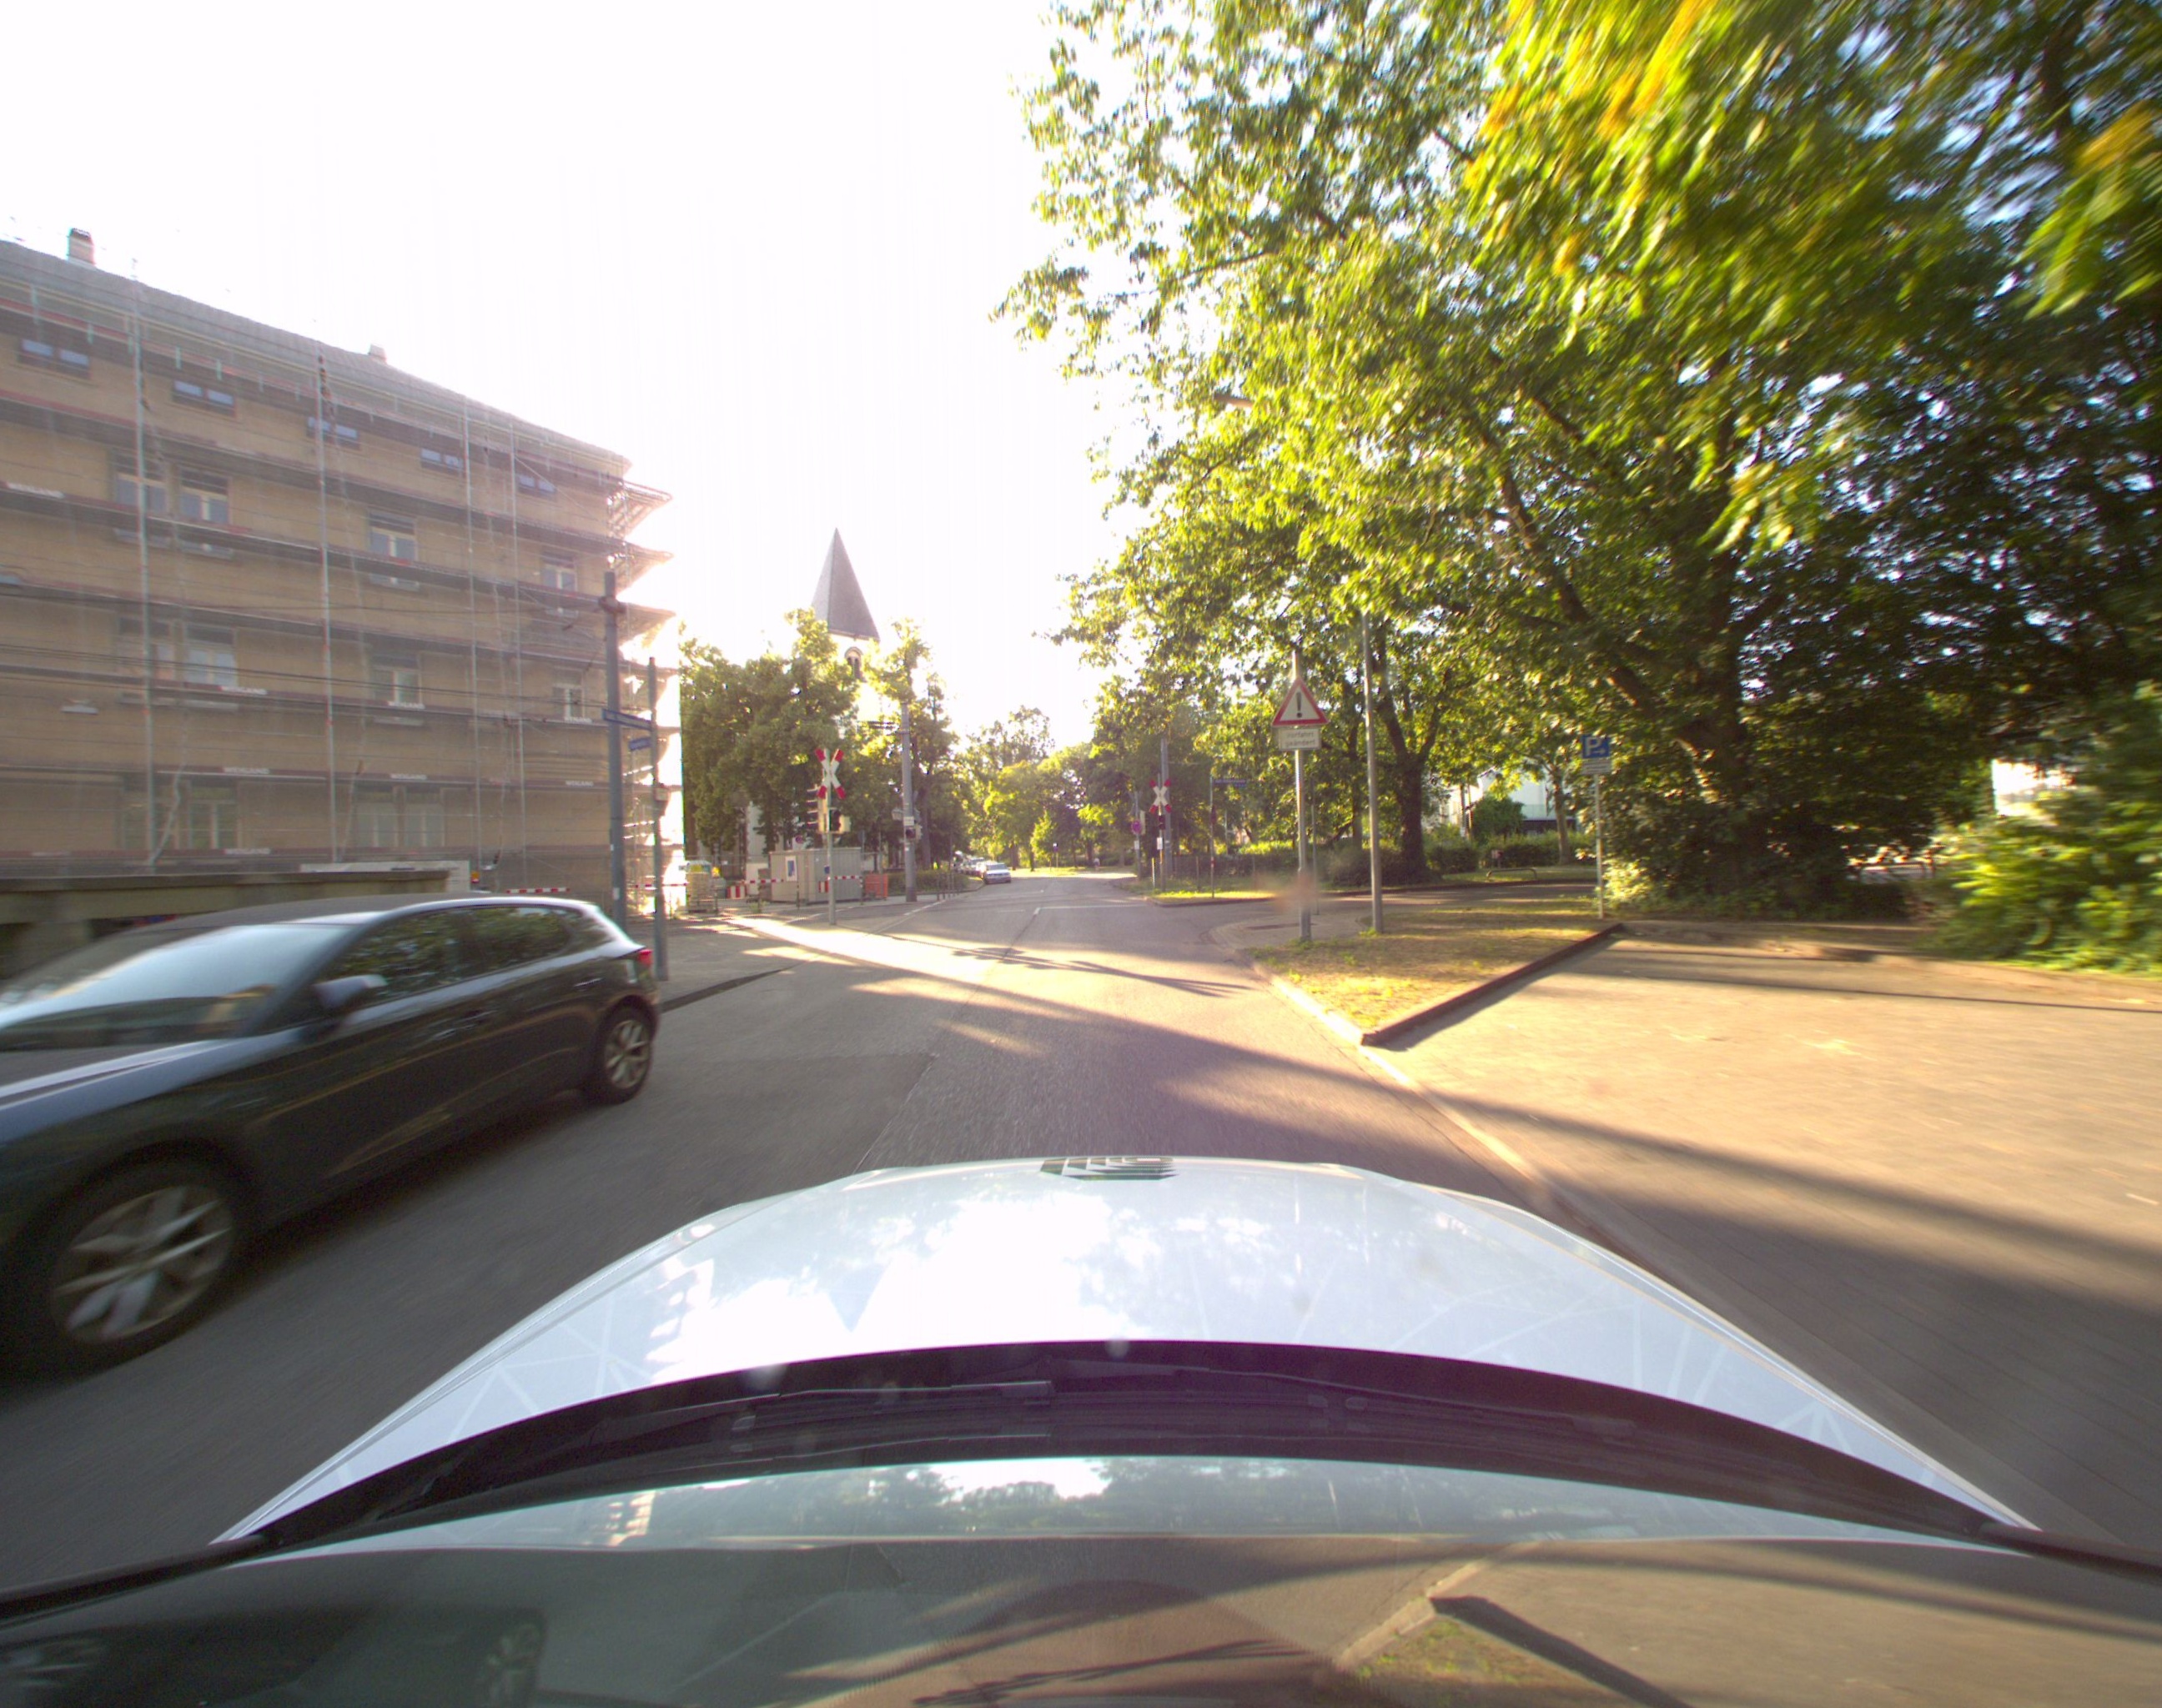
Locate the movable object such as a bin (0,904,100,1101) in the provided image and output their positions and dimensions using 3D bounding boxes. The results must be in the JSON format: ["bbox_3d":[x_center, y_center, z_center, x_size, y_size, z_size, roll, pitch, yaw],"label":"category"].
[{"bbox_3d":[-9.024,1.195,6.184,1.138,1.486,1.633,-2,0,12],"label":"movable object such as a bin"}]

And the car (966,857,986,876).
[{"bbox_3d":[-11.682,1.404,90.713,1.852,1.946,4.821,-2,0,-11],"label":"car"}]

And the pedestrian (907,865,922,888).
[{"bbox_3d":[-9.714,1.292,47.536,0.548,1.298,0.767,-2,0,6],"label":"pedestrian"}]

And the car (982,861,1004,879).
[{"bbox_3d":[-7.727,1.375,70.954,1.612,1.440,3.593,-3,0,-10],"label":"car"}]

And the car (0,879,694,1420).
[{"bbox_3d":[-3.889,0.940,3.987,1.736,1.448,4.212,-3,0,3],"label":"car"}]

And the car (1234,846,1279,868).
[{"bbox_3d":[17.288,0.238,80.074,1.934,2.013,5.185,-2,-1,42],"label":"car"}]

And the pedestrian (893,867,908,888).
[{"bbox_3d":[-10.516,1.372,47.420,0.548,1.195,0.885,-2,0,6],"label":"pedestrian"}]

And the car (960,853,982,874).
[{"bbox_3d":[-13.258,1.139,97.739,1.855,2.356,5.156,-2,0,-17],"label":"car"}]

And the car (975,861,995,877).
[{"bbox_3d":[-9.745,1.505,82.444,1.617,1.501,3.682,-2,0,-11],"label":"car"}]

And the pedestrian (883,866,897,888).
[{"bbox_3d":[-11.103,1.356,47.404,0.548,1.233,0.726,-2,0,6],"label":"pedestrian"}]

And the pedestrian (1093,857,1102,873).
[{"bbox_3d":[1.619,1.119,81.148,0.771,1.574,0.767,-2,0,-2],"label":"pedestrian"}]

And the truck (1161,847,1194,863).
[{"bbox_3d":[20.258,0.228,171.623,2.621,3.029,7.929,-2,0,-31],"label":"truck"}]

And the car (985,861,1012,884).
[{"bbox_3d":[-5.870,1.302,57.637,1.778,1.415,4.487,-4,0,-7],"label":"car"}]
